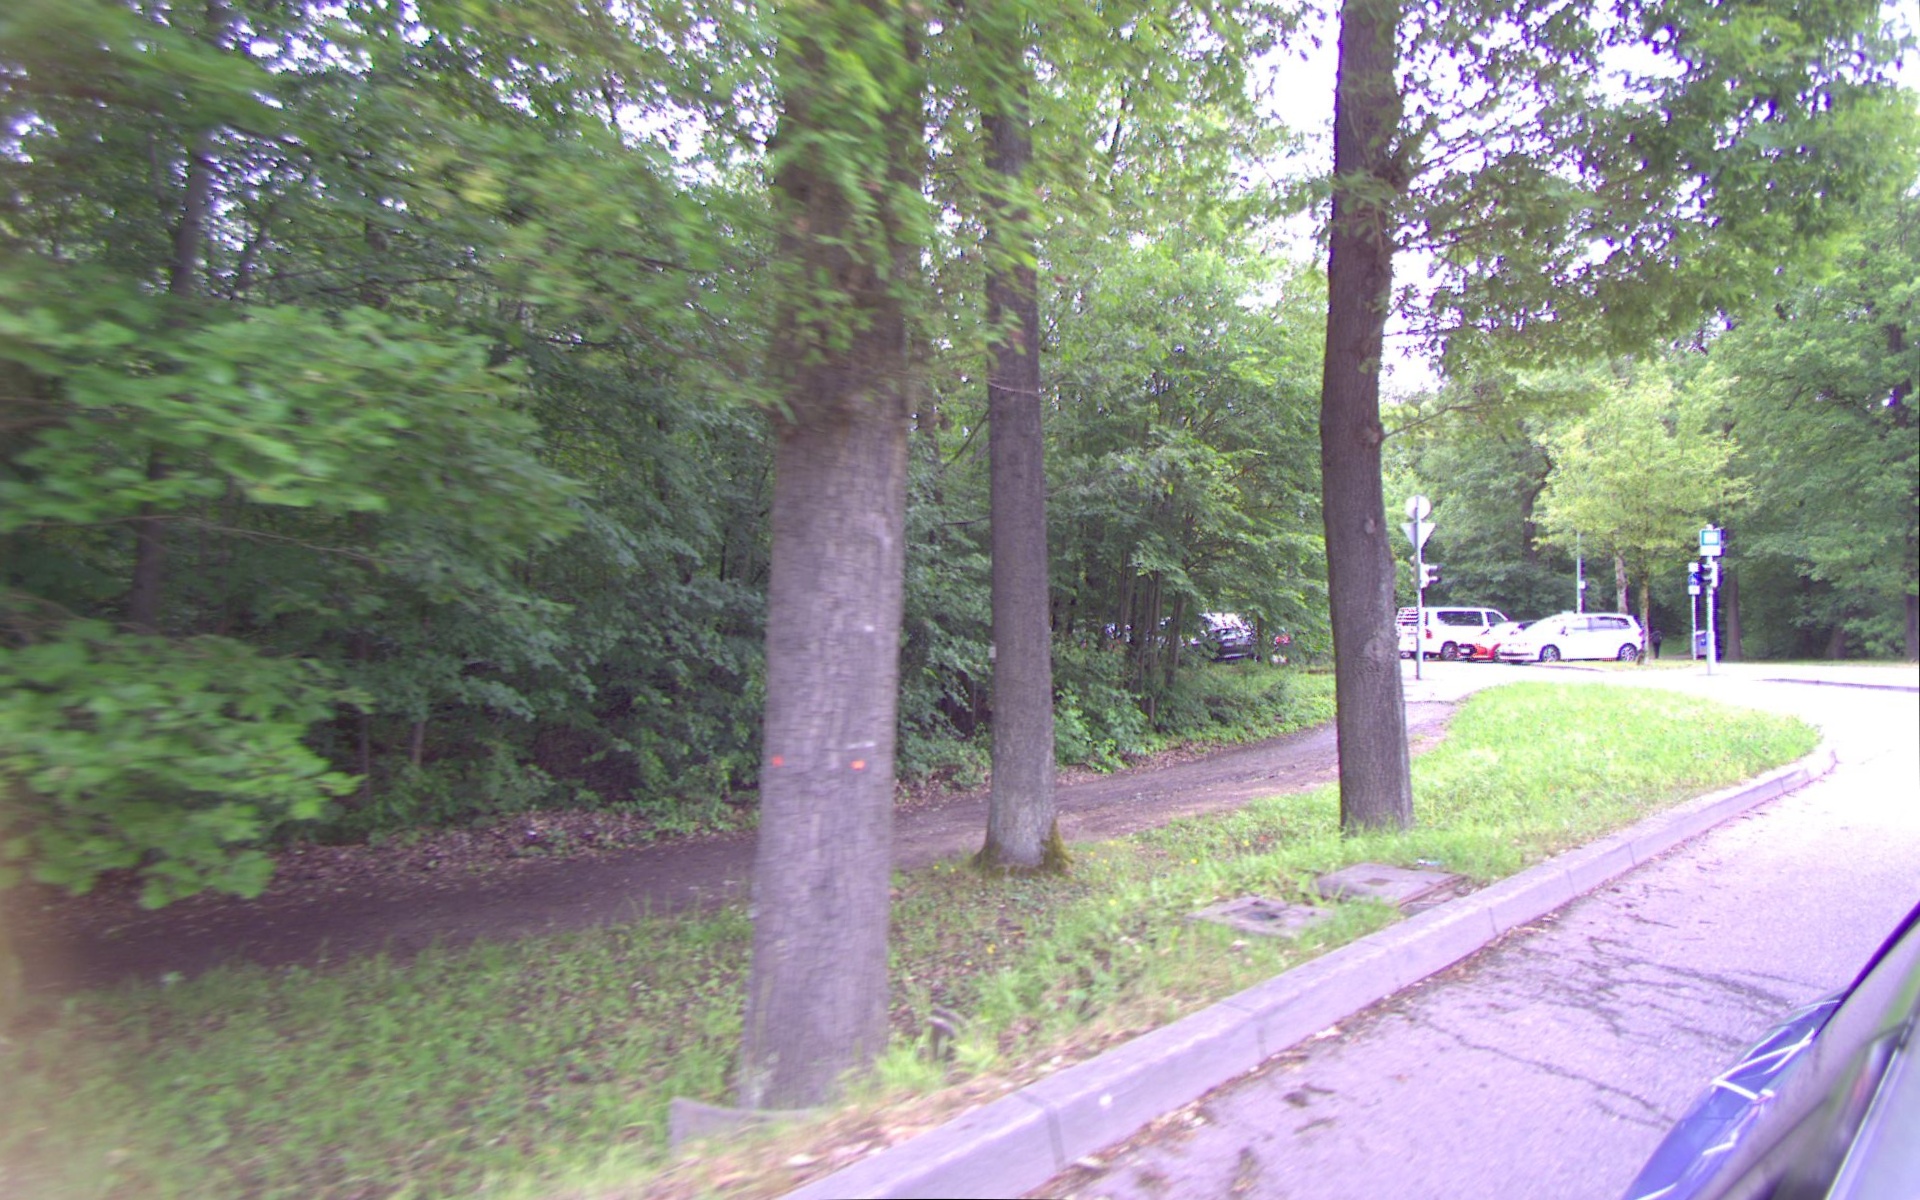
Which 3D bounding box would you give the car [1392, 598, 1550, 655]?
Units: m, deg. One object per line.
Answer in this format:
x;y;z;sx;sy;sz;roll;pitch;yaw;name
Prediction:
19.337;0.997;38.377;5.075;1.983;2.066;-1;-2;-12;car

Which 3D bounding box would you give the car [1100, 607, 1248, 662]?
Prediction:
7.751;1.253;36.874;4.846;1.903;2.003;0;-2;-13;car

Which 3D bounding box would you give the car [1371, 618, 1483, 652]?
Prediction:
18.912;1.405;41.036;3.853;1.345;1.724;0;-2;-14;car

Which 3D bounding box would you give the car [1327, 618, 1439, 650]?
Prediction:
18.034;1.445;43.190;4.043;1.342;1.822;0;-2;-12;car

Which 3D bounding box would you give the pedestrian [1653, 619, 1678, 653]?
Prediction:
34.668;1.773;49.709;0.831;1.672;1.019;-3;-3;44;pedestrian

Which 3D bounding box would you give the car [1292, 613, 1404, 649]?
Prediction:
17.481;1.389;45.670;4.437;1.578;1.846;0;-2;-15;car

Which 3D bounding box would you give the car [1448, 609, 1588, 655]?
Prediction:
19.714;1.142;35.826;3.918;1.572;1.896;0;-2;-8;car

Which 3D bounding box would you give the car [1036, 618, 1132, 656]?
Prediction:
5.603;1.674;45.814;3.906;1.639;1.851;0;-2;-18;car

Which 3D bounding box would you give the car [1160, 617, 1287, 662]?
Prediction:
8.855;1.326;34.071;3.768;1.438;1.824;1;-2;-19;car

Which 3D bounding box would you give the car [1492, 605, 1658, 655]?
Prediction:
20.200;0.984;33.330;4.330;1.572;2.002;0;-2;-8;car
